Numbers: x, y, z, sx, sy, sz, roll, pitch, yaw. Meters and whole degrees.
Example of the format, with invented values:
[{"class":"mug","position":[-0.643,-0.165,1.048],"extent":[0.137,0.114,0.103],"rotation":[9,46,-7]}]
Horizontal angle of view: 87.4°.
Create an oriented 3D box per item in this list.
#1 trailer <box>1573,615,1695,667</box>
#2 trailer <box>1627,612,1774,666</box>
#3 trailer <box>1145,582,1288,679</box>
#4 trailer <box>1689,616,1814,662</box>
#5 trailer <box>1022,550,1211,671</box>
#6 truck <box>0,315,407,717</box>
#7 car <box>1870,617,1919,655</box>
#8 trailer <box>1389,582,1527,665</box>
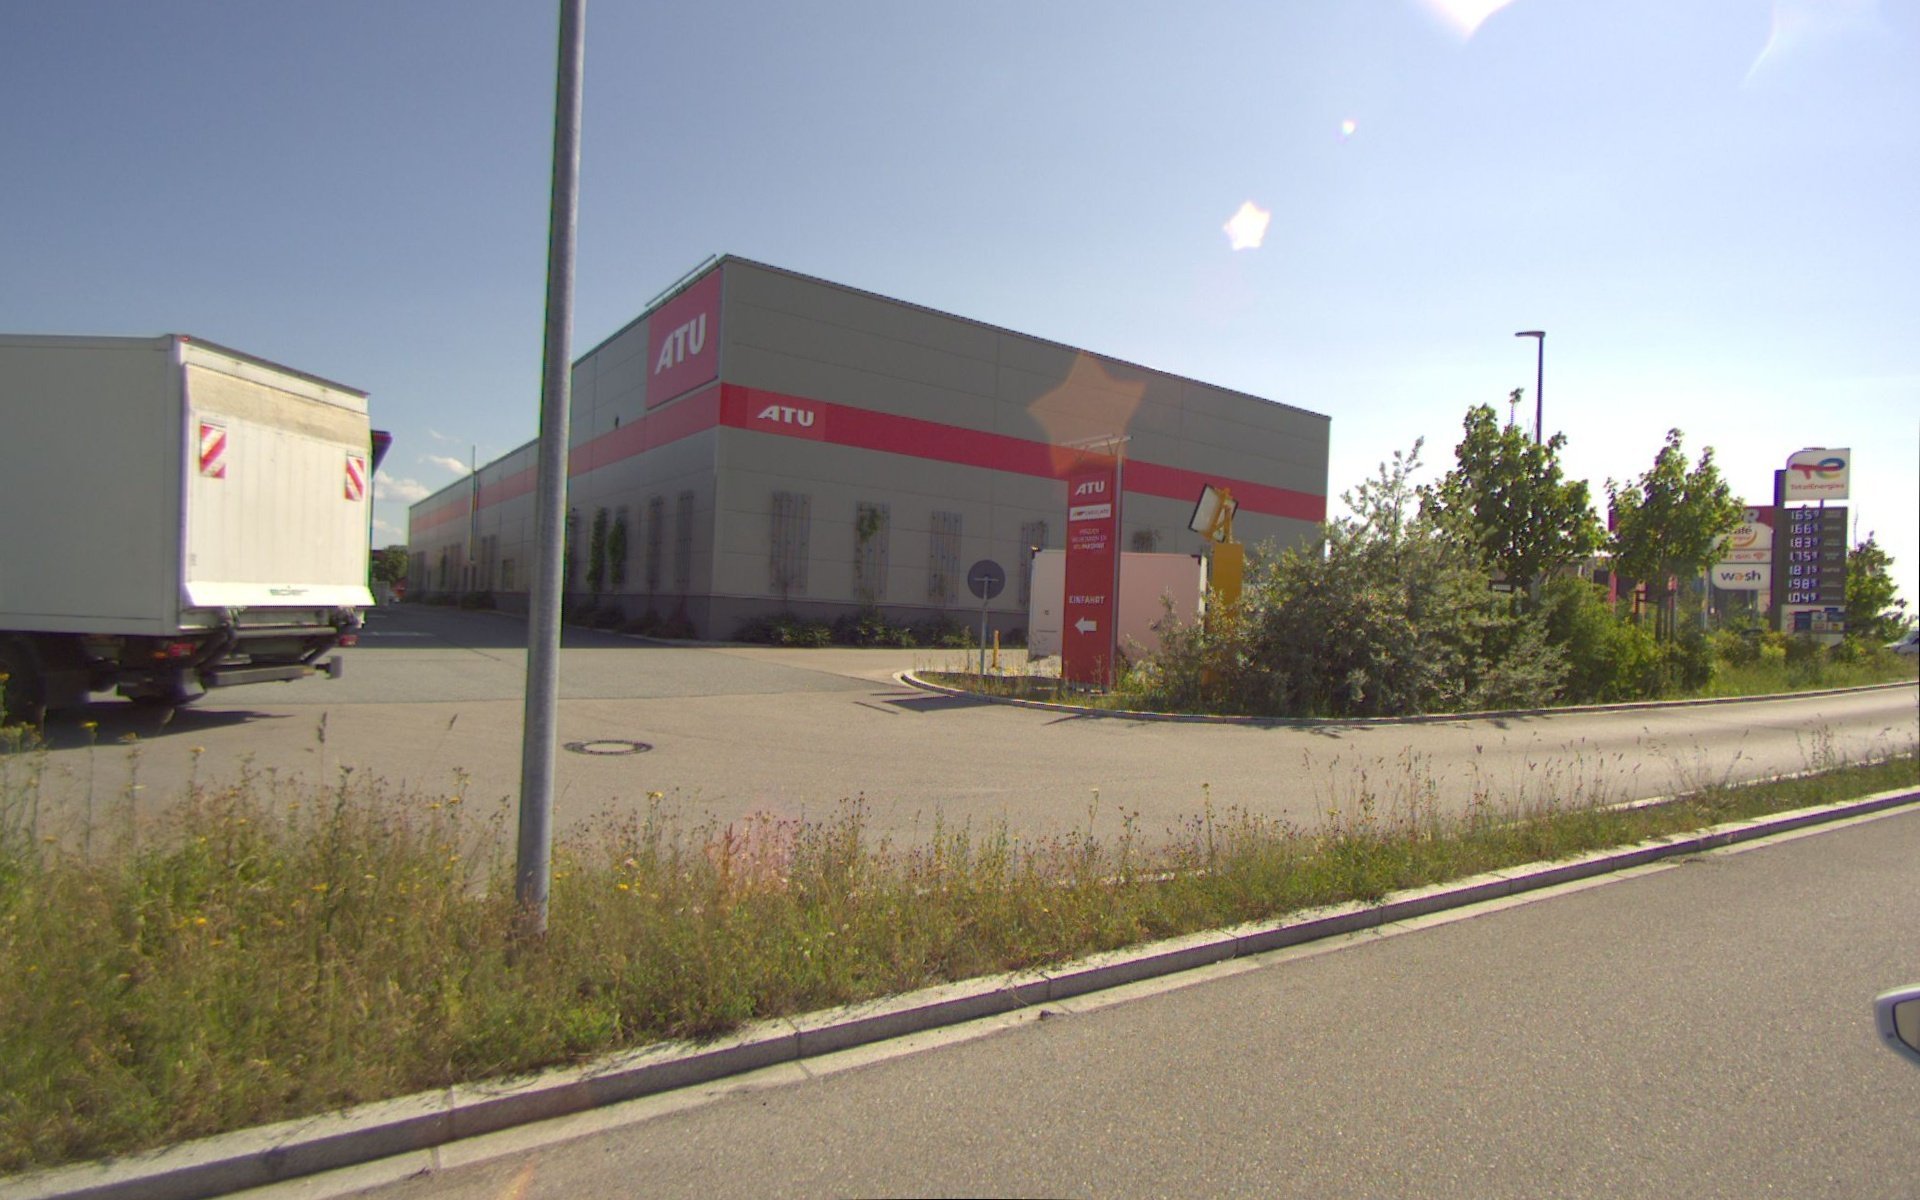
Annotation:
[{"class":"trailer","position":[26.258,1.565,39.283],"extent":[3.626,1.795,1.806],"rotation":[2,0,24]},{"class":"trailer","position":[25.145,1.299,34.255],"extent":[3.626,1.471,1.707],"rotation":[5,1,24]},{"class":"trailer","position":[5.933,0.663,23.179],"extent":[2.688,2.040,1.996],"rotation":[2,0,31]},{"class":"trailer","position":[32.153,1.551,40.934],"extent":[3.626,1.795,1.806],"rotation":[0,-1,24]},{"class":"trailer","position":[2.957,0.164,18.754],"extent":[3.143,2.040,2.000],"rotation":[2,0,19]},{"class":"truck","position":[-9.366,-0.750,9.416],"extent":[6.792,3.362,2.633],"rotation":[2,0,-16]},{"class":"car","position":[61.222,2.316,62.716],"extent":[6.150,2.264,2.040],"rotation":[2,0,19]},{"class":"trailer","position":[13.414,0.596,27.149],"extent":[3.180,2.040,1.746],"rotation":[2,0,27]}]
